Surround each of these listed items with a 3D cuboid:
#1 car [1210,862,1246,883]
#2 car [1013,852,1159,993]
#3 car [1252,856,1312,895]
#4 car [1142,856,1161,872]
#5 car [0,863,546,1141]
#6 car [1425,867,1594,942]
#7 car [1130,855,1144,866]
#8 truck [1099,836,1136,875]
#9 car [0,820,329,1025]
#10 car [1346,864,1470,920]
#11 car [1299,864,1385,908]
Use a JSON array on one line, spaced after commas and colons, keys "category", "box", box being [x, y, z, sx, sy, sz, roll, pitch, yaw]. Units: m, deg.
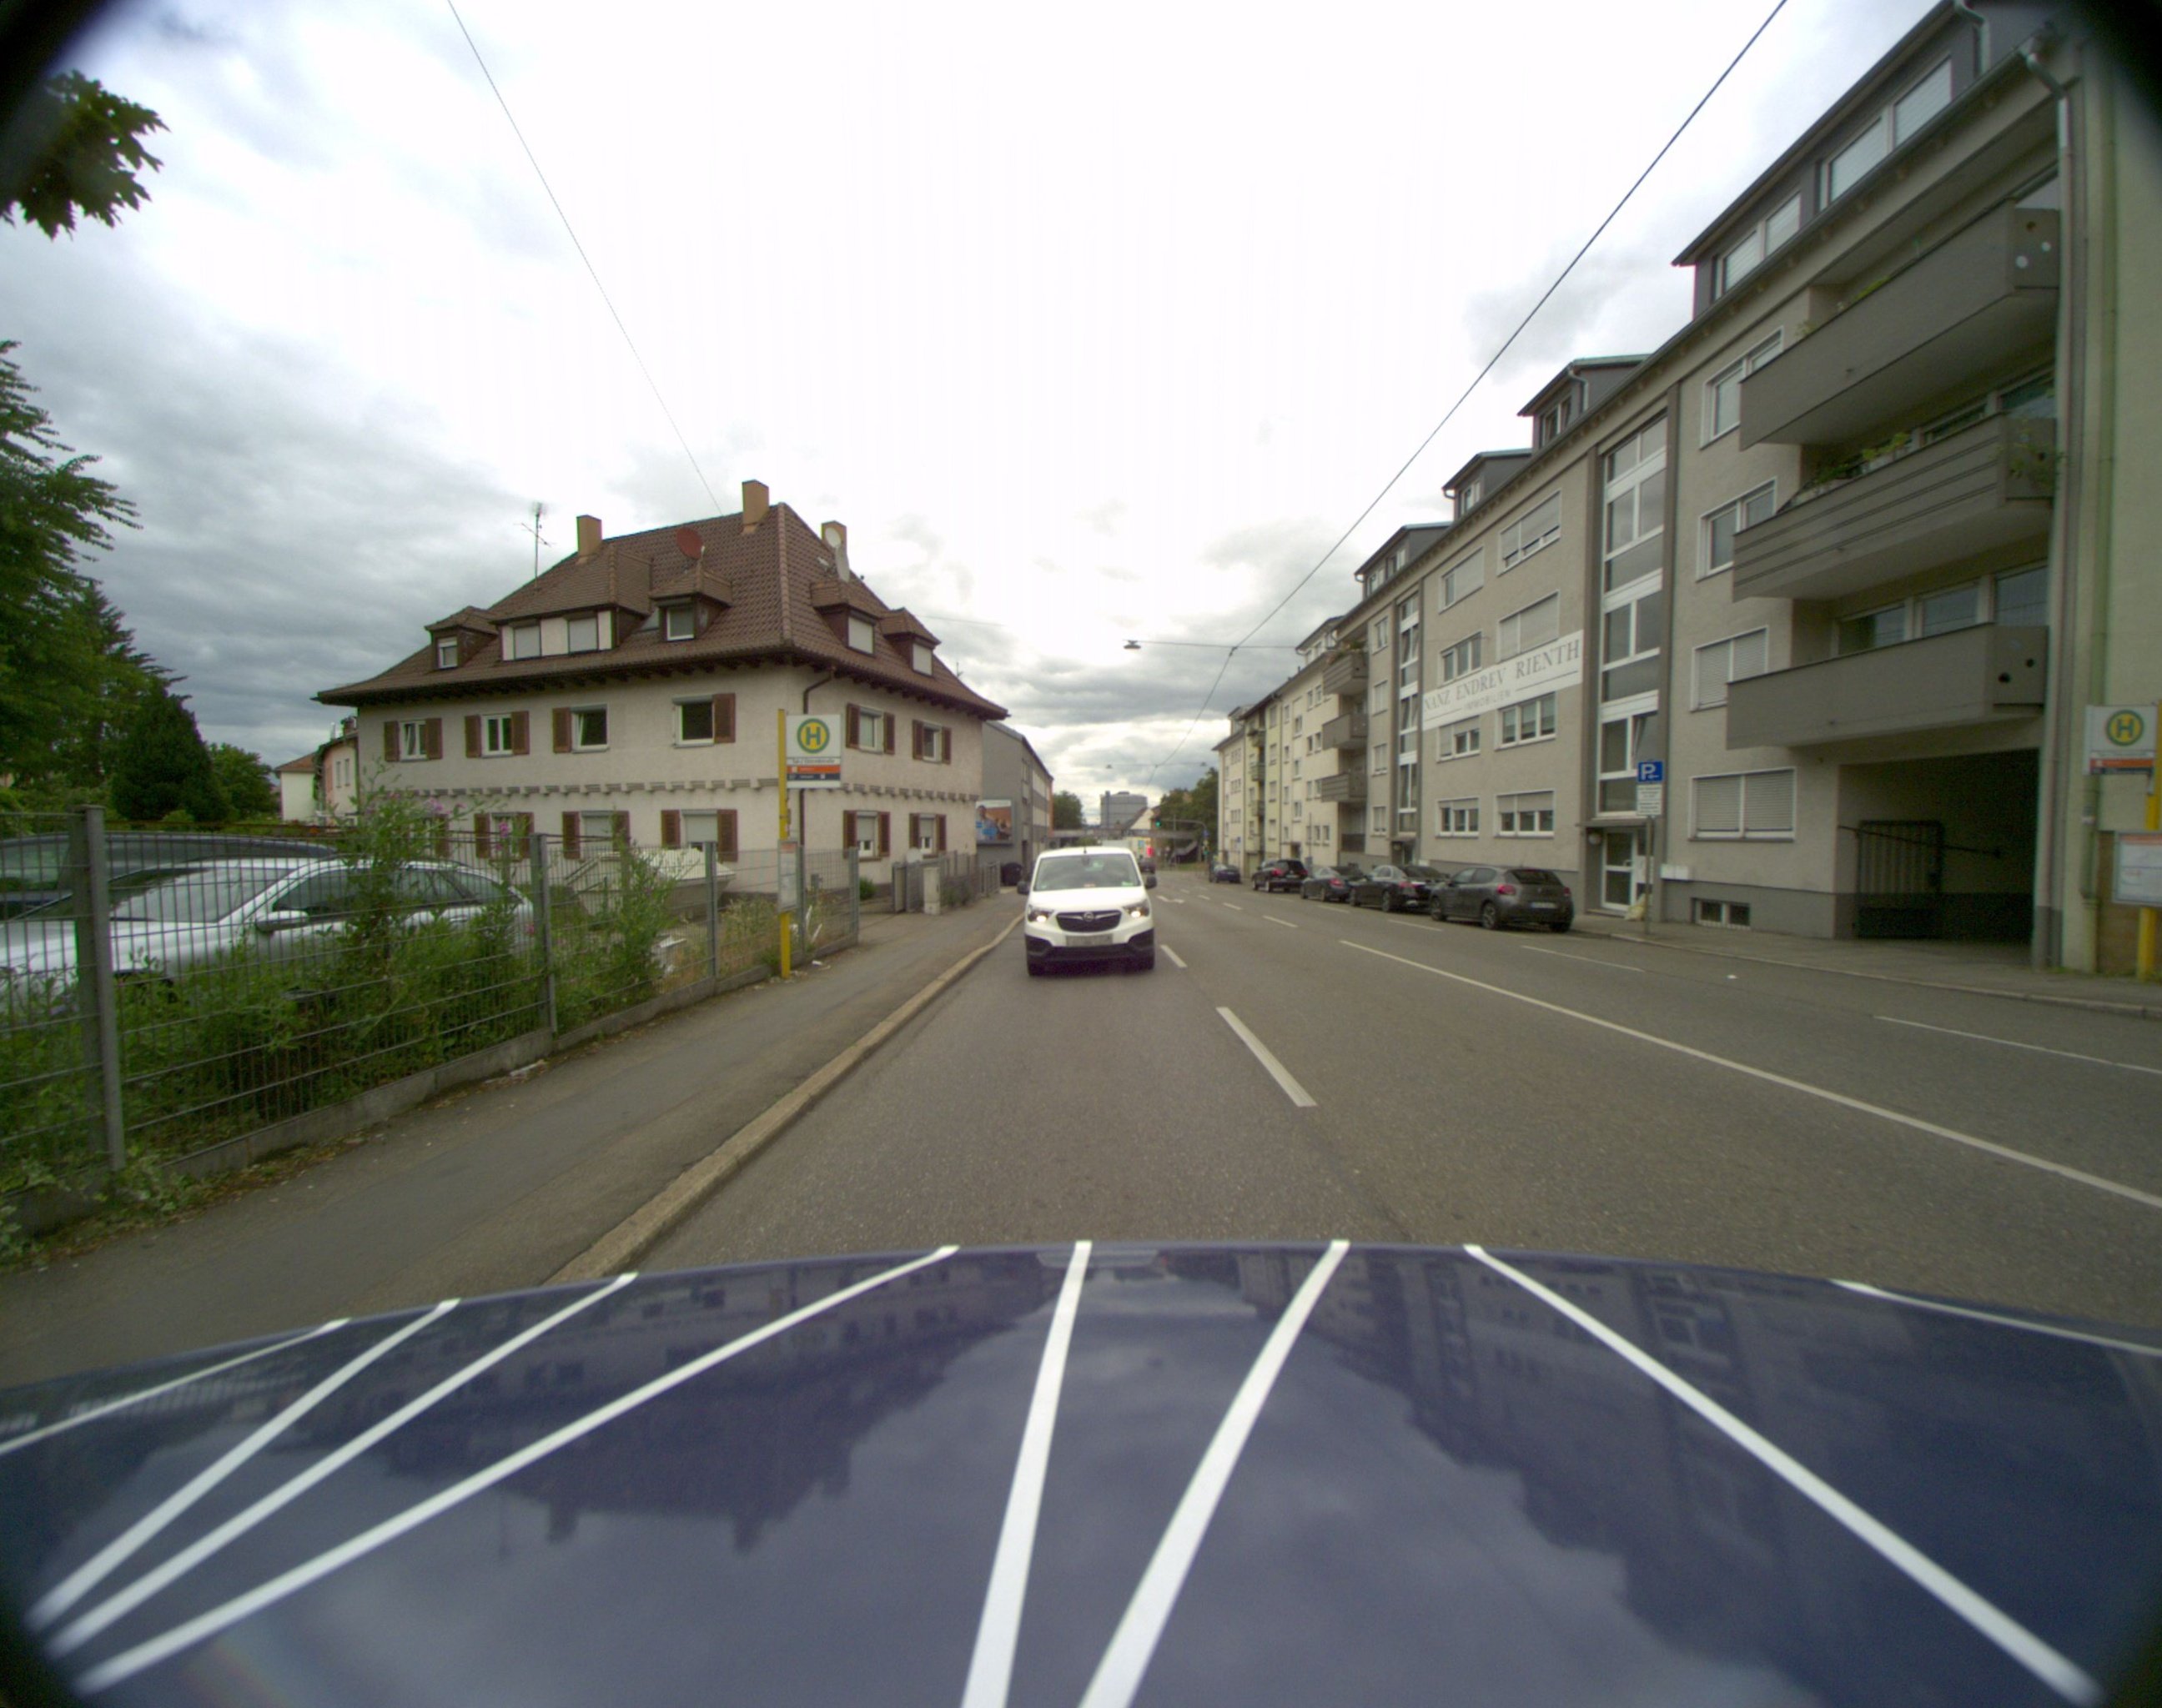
[{"category": "car", "box": [10.575, 1.297, 54.953, 1.874, 1.372, 4.308, 2, 0, 3]}, {"category": "car", "box": [0.080, 0.865, 11.693, 1.803, 1.735, 4.000, -2, 0, 0]}, {"category": "car", "box": [10.022, 1.032, 38.214, 1.875, 1.743, 4.307, 2, 0, 0]}, {"category": "car", "box": [7.687, 1.084, 83.098, 1.874, 1.569, 4.308, 2, 0, 3]}, {"category": "car", "box": [-6.579, 0.790, 5.989, 1.803, 1.413, 4.264, 1, -1, -2]}, {"category": "car", "box": [9.846, 1.097, 17.820, 1.772, 1.428, 3.801, 2, 0, 0]}, {"category": "car", "box": [8.304, 0.992, 113.469, 1.874, 1.569, 4.308, 2, 0, 3]}, {"category": "truck", "box": [3.470, 0.161, 74.059, 2.776, 3.554, 8.062, -1, 0, -3]}, {"category": "car", "box": [-11.109, 0.669, 8.289, 1.994, 2.002, 4.009, 0, 0, 42]}, {"category": "car", "box": [9.873, 1.098, 23.408, 1.772, 1.397, 4.718, 2, 0, 0]}, {"category": "car", "box": [9.828, 1.168, 28.964, 1.772, 1.397, 4.307, 2, 0, 0]}]
